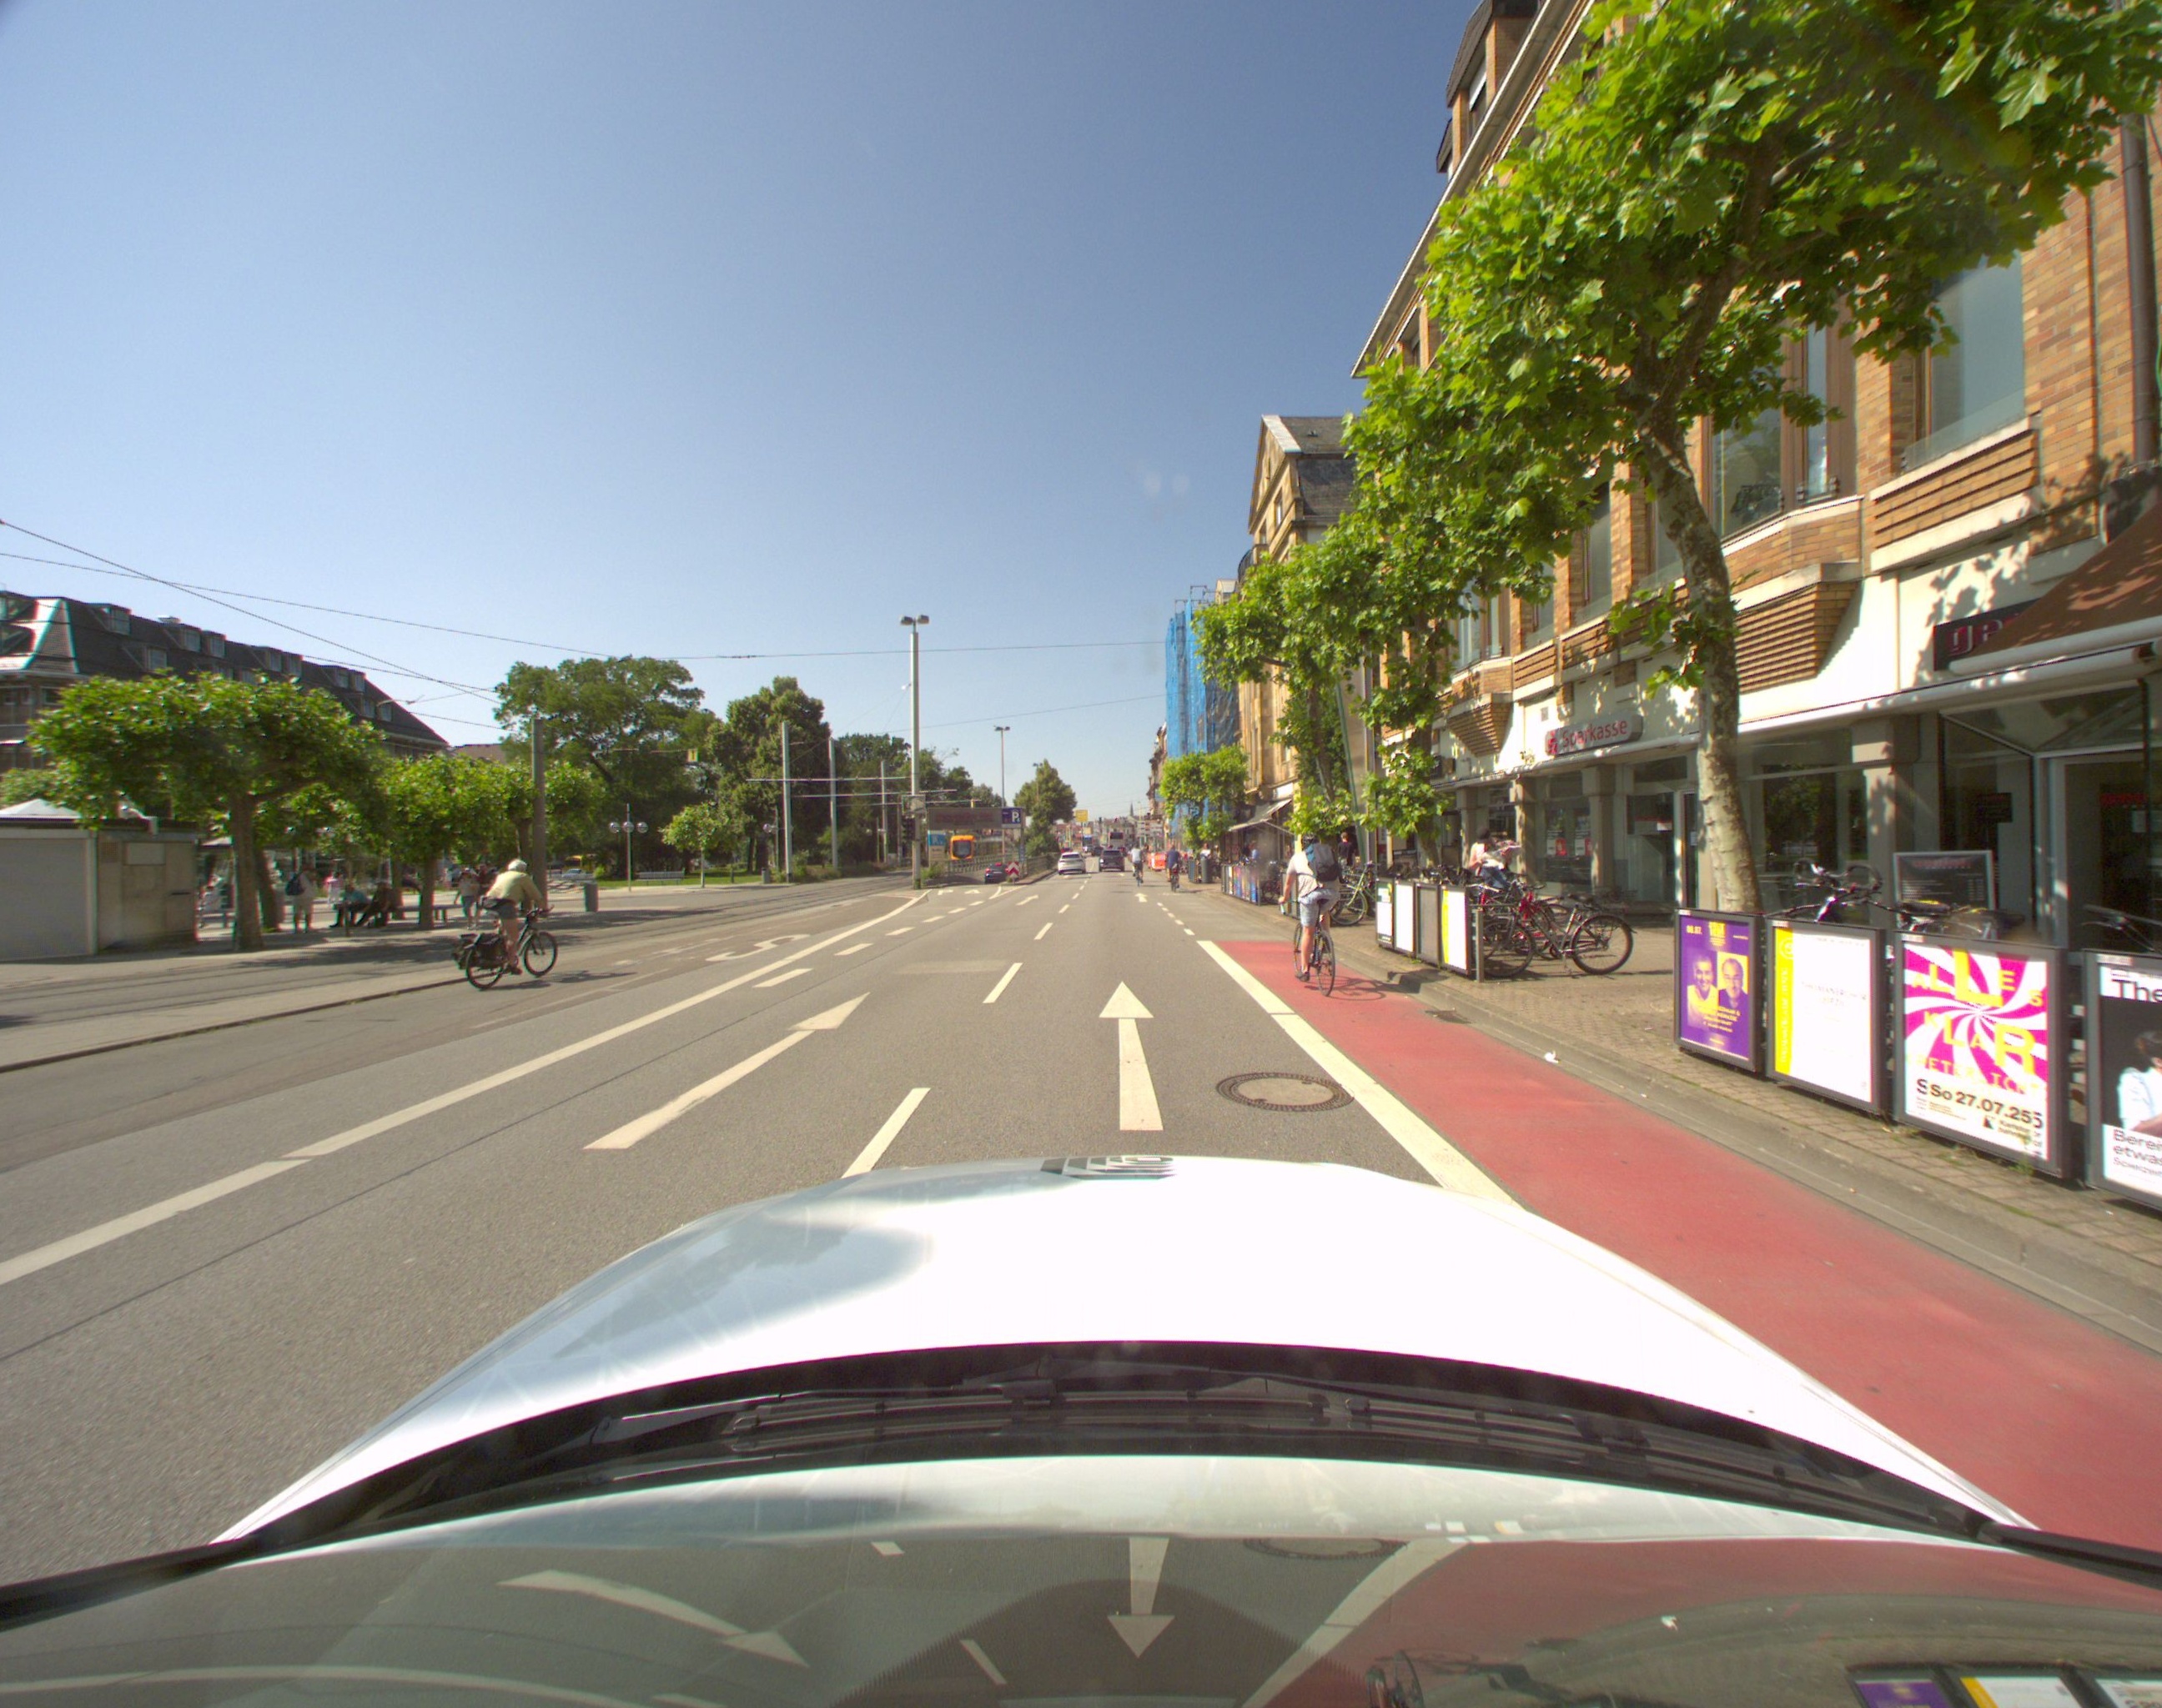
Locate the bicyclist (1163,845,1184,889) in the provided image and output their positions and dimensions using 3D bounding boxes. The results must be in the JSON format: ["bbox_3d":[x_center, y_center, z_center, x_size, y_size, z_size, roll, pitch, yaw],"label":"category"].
[{"bbox_3d":[3.444,0.487,30.432,0.686,1.616,0.918,1,0,0],"label":"bicyclist"}]

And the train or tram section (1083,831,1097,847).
[{"bbox_3d":[2.081,-3.328,186.831,2.811,3.581,10.038,1,0,2],"label":"train or tram section"}]

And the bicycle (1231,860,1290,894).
[{"bbox_3d":[5.615,0.721,25.525,1.747,1.018,0.483,-1,0,-1],"label":"bicycle"}]

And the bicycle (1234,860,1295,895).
[{"bbox_3d":[5.612,0.723,24.980,1.747,1.018,0.483,-1,0,-1],"label":"bicycle"}]

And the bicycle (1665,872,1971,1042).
[{"bbox_3d":[5.162,0.699,5.750,1.747,1.123,0.483,0,0,-1],"label":"bicycle"}]

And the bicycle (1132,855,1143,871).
[{"bbox_3d":[3.956,0.635,57.199,0.731,1.093,1.898,1,0,1],"label":"bicycle"}]

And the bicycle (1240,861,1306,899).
[{"bbox_3d":[5.496,0.742,23.344,1.747,1.018,0.483,-1,0,-1],"label":"bicycle"}]

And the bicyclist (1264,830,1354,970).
[{"bbox_3d":[2.519,0.477,9.105,0.686,1.463,1.143,1,0,0],"label":"bicyclist"}]

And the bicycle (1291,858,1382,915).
[{"bbox_3d":[5.369,0.679,17.150,1.747,1.147,0.483,-1,0,-1],"label":"bicycle"}]

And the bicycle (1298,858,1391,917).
[{"bbox_3d":[5.377,0.681,16.659,1.747,1.147,0.483,-1,0,-1],"label":"bicycle"}]

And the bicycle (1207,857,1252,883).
[{"bbox_3d":[6.068,0.653,33.304,1.747,1.018,0.483,-1,0,-1],"label":"bicycle"}]

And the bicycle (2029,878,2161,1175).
[{"bbox_3d":[5.131,0.679,3.399,1.747,1.147,0.527,-1,0,-1],"label":"bicycle"}]

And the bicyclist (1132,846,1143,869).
[{"bbox_3d":[3.974,0.222,57.246,0.686,1.576,1.049,1,0,0],"label":"bicyclist"}]

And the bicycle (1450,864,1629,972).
[{"bbox_3d":[5.137,0.707,9.171,1.747,1.147,0.483,-1,0,-1],"label":"bicycle"}]

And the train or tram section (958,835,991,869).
[{"bbox_3d":[-11.658,-0.210,89.767,2.604,3.581,6.105,1,0,1],"label":"train or tram section"}]

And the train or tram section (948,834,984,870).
[{"bbox_3d":[-11.780,-0.188,83.684,2.604,3.581,6.105,1,0,1],"label":"train or tram section"}]

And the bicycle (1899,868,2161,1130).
[{"bbox_3d":[5.057,0.656,3.928,1.747,1.147,0.483,-1,0,-1],"label":"bicycle"}]

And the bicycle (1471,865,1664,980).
[{"bbox_3d":[5.135,0.709,8.644,1.747,1.147,0.499,-1,0,-1],"label":"bicycle"}]

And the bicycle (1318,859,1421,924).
[{"bbox_3d":[5.352,0.687,15.143,1.747,1.147,0.483,-1,0,-1],"label":"bicycle"}]

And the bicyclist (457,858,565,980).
[{"bbox_3d":[-8.118,0.896,11.636,0.814,1.622,0.903,-2,1,1],"label":"bicyclist"}]

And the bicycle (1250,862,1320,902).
[{"bbox_3d":[5.455,0.747,21.855,1.747,1.018,0.483,-1,0,-1],"label":"bicycle"}]

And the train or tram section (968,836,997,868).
[{"bbox_3d":[-11.477,-0.230,95.489,2.604,3.581,5.358,1,0,1],"label":"train or tram section"}]

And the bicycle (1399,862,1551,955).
[{"bbox_3d":[5.150,0.701,10.686,1.747,1.147,0.483,-1,0,-1],"label":"bicycle"}]

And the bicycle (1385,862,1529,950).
[{"bbox_3d":[5.147,0.699,11.198,1.747,1.147,0.483,-1,0,-1],"label":"bicycle"}]

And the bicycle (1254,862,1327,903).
[{"bbox_3d":[5.443,0.740,21.205,1.747,1.018,0.483,-1,0,-1],"label":"bicycle"}]

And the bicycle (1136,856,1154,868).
[{"bbox_3d":[6.152,0.772,78.450,1.764,1.178,0.609,0,0,2],"label":"bicycle"}]

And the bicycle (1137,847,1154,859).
[{"bbox_3d":[6.986,-0.135,88.226,1.687,1.178,0.609,-2,1,2],"label":"bicycle"}]

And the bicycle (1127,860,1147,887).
[{"bbox_3d":[2.404,0.834,34.907,0.731,1.093,1.898,1,0,0],"label":"bicycle"}]

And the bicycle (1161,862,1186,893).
[{"bbox_3d":[3.438,0.858,30.469,0.731,1.093,1.911,1,0,0],"label":"bicycle"}]

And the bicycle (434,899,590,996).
[{"bbox_3d":[-8.101,1.296,11.727,0.814,1.120,1.875,-4,0,2],"label":"bicycle"}]

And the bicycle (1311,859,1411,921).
[{"bbox_3d":[5.363,0.685,15.651,1.747,1.147,0.483,-1,0,-1],"label":"bicycle"}]

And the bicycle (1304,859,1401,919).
[{"bbox_3d":[5.371,0.683,16.152,1.747,1.147,0.483,-1,0,-1],"label":"bicycle"}]

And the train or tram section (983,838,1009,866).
[{"bbox_3d":[-11.186,-0.274,108.070,2.604,3.581,6.019,1,0,1],"label":"train or tram section"}]

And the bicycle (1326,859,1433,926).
[{"bbox_3d":[5.341,0.688,14.611,1.747,1.147,0.483,-1,0,-1],"label":"bicycle"}]

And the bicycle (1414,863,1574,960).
[{"bbox_3d":[5.144,0.705,10.184,1.747,1.147,0.483,-1,0,-1],"label":"bicycle"}]

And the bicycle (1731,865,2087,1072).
[{"bbox_3d":[5.132,0.684,5.094,1.747,1.187,0.483,-1,0,-1],"label":"bicycle"}]

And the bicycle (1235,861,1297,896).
[{"bbox_3d":[5.554,0.732,24.444,1.747,1.018,0.483,-1,0,-1],"label":"bicycle"}]

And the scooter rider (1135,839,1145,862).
[{"bbox_3d":[4.400,-0.261,61.015,0.686,1.729,0.778,1,0,0],"label":"scooter rider"}]

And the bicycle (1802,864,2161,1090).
[{"bbox_3d":[5.094,0.651,4.529,1.747,1.147,0.483,-1,0,-1],"label":"bicycle"}]

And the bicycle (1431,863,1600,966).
[{"bbox_3d":[5.137,0.705,9.678,1.747,1.147,0.483,-1,0,-1],"label":"bicycle"}]

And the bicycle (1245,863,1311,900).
[{"bbox_3d":[5.491,0.766,22.712,1.712,0.985,0.483,-1,0,-1],"label":"bicycle"}]

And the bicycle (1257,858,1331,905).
[{"bbox_3d":[5.389,0.697,20.625,1.747,1.147,0.483,-1,0,-1],"label":"bicycle"}]

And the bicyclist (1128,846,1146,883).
[{"bbox_3d":[2.400,0.439,34.898,0.686,1.576,1.049,1,0,0],"label":"bicyclist"}]
